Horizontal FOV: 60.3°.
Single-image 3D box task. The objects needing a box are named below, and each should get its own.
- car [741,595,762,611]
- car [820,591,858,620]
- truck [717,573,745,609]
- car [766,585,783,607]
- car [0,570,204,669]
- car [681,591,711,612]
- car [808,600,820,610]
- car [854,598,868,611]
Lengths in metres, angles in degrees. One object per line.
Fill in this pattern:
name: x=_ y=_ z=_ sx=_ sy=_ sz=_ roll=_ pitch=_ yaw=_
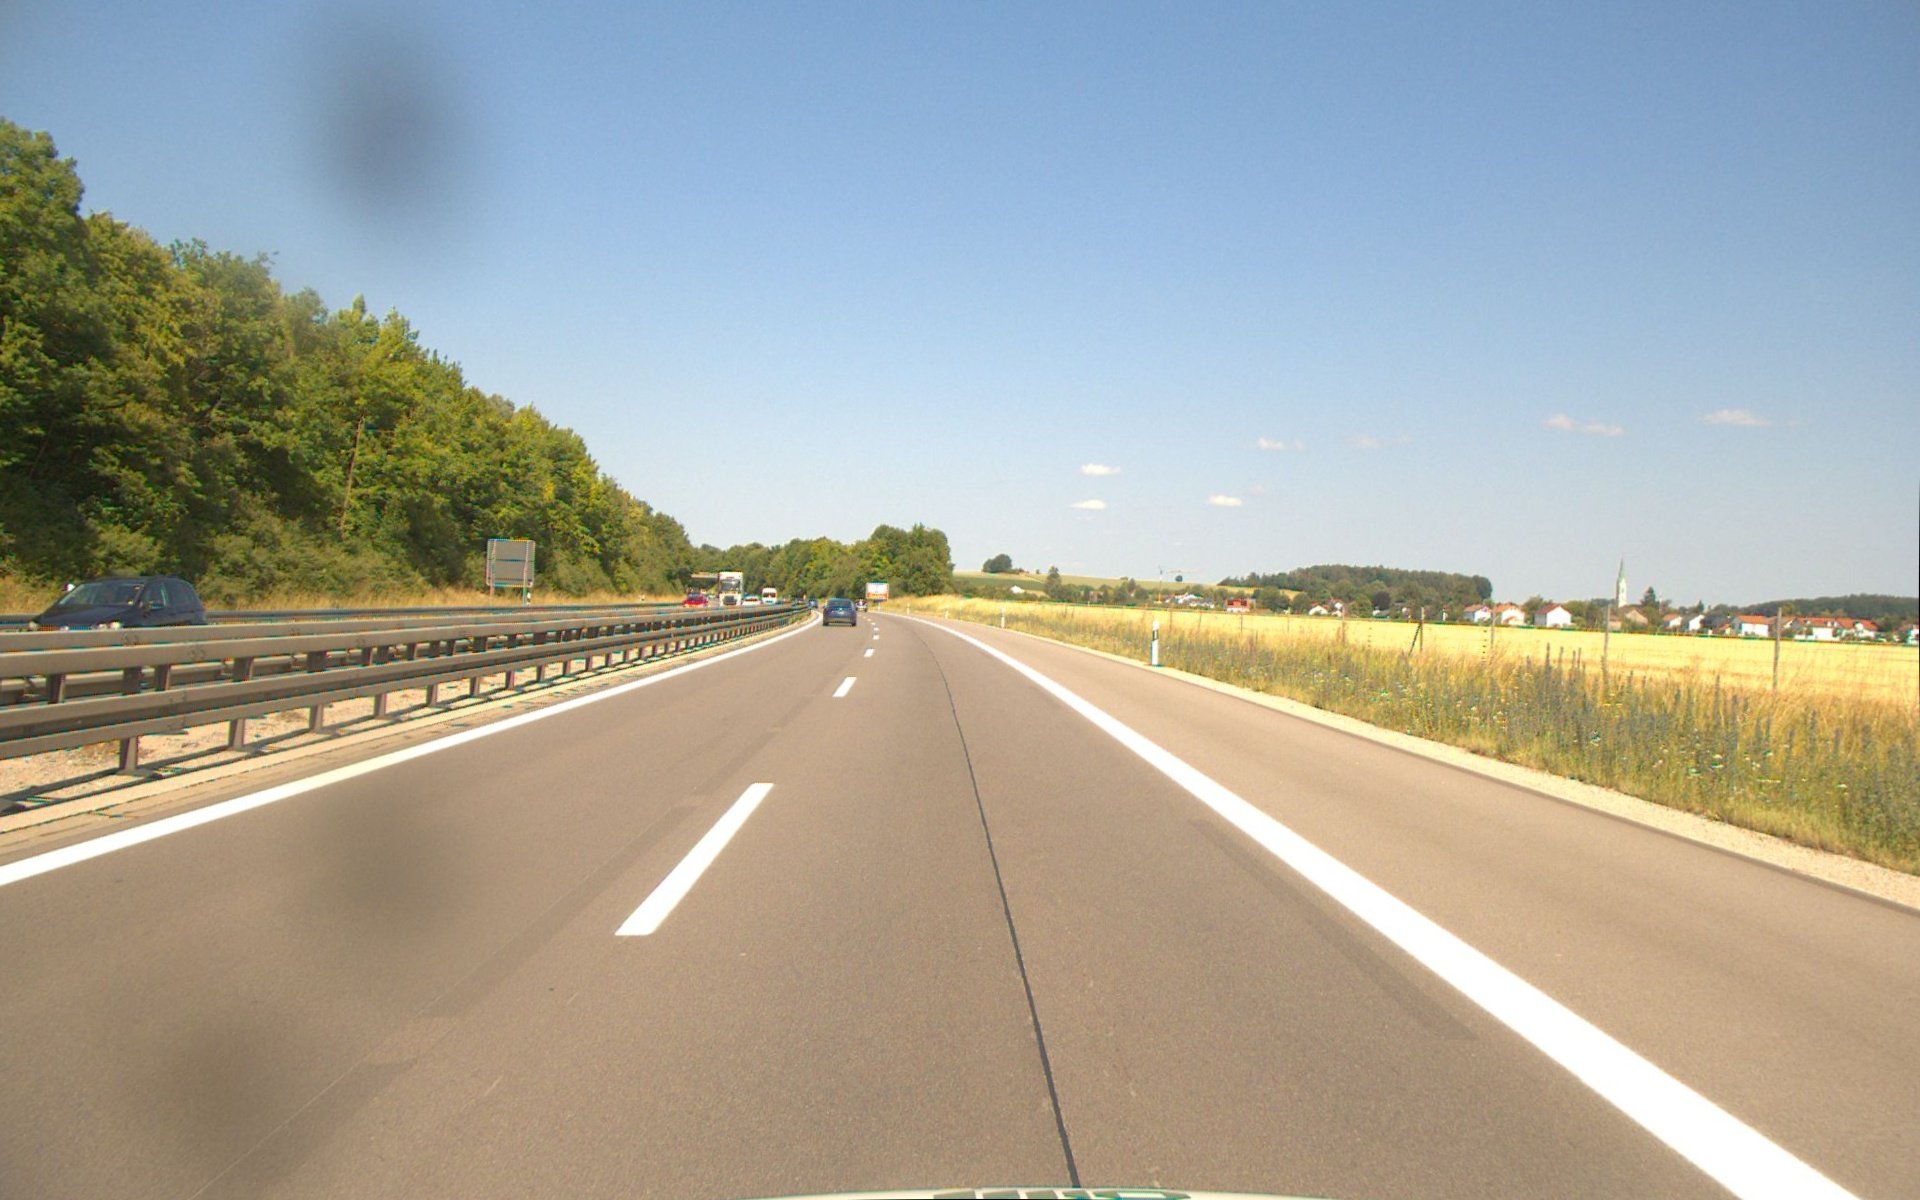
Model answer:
car: x=-20.906 y=0.282 z=165.893 sx=1.652 sy=1.509 sz=4.974 roll=2 pitch=0 yaw=-3
car: x=-6.642 y=0.289 z=91.153 sx=1.810 sy=1.457 sz=5.863 roll=1 pitch=1 yaw=-2
truck: x=-25.694 y=-1.045 z=185.712 sx=2.692 sy=3.896 sz=5.906 roll=1 pitch=0 yaw=-5
car: x=-23.636 y=-0.497 z=211.098 sx=2.048 sy=2.639 sz=5.807 roll=1 pitch=0 yaw=-6
car: x=-15.458 y=0.295 z=29.524 sx=1.774 sy=1.582 sz=4.848 roll=2 pitch=0 yaw=-2
car: x=-19.484 y=0.081 z=122.167 sx=1.639 sy=1.463 sz=4.139 roll=2 pitch=0 yaw=-3
car: x=-22.300 y=0.728 z=252.673 sx=1.643 sy=1.478 sz=3.590 roll=2 pitch=0 yaw=-3
car: x=-11.891 y=0.573 z=199.094 sx=1.643 sy=1.478 sz=3.589 roll=2 pitch=0 yaw=-4
